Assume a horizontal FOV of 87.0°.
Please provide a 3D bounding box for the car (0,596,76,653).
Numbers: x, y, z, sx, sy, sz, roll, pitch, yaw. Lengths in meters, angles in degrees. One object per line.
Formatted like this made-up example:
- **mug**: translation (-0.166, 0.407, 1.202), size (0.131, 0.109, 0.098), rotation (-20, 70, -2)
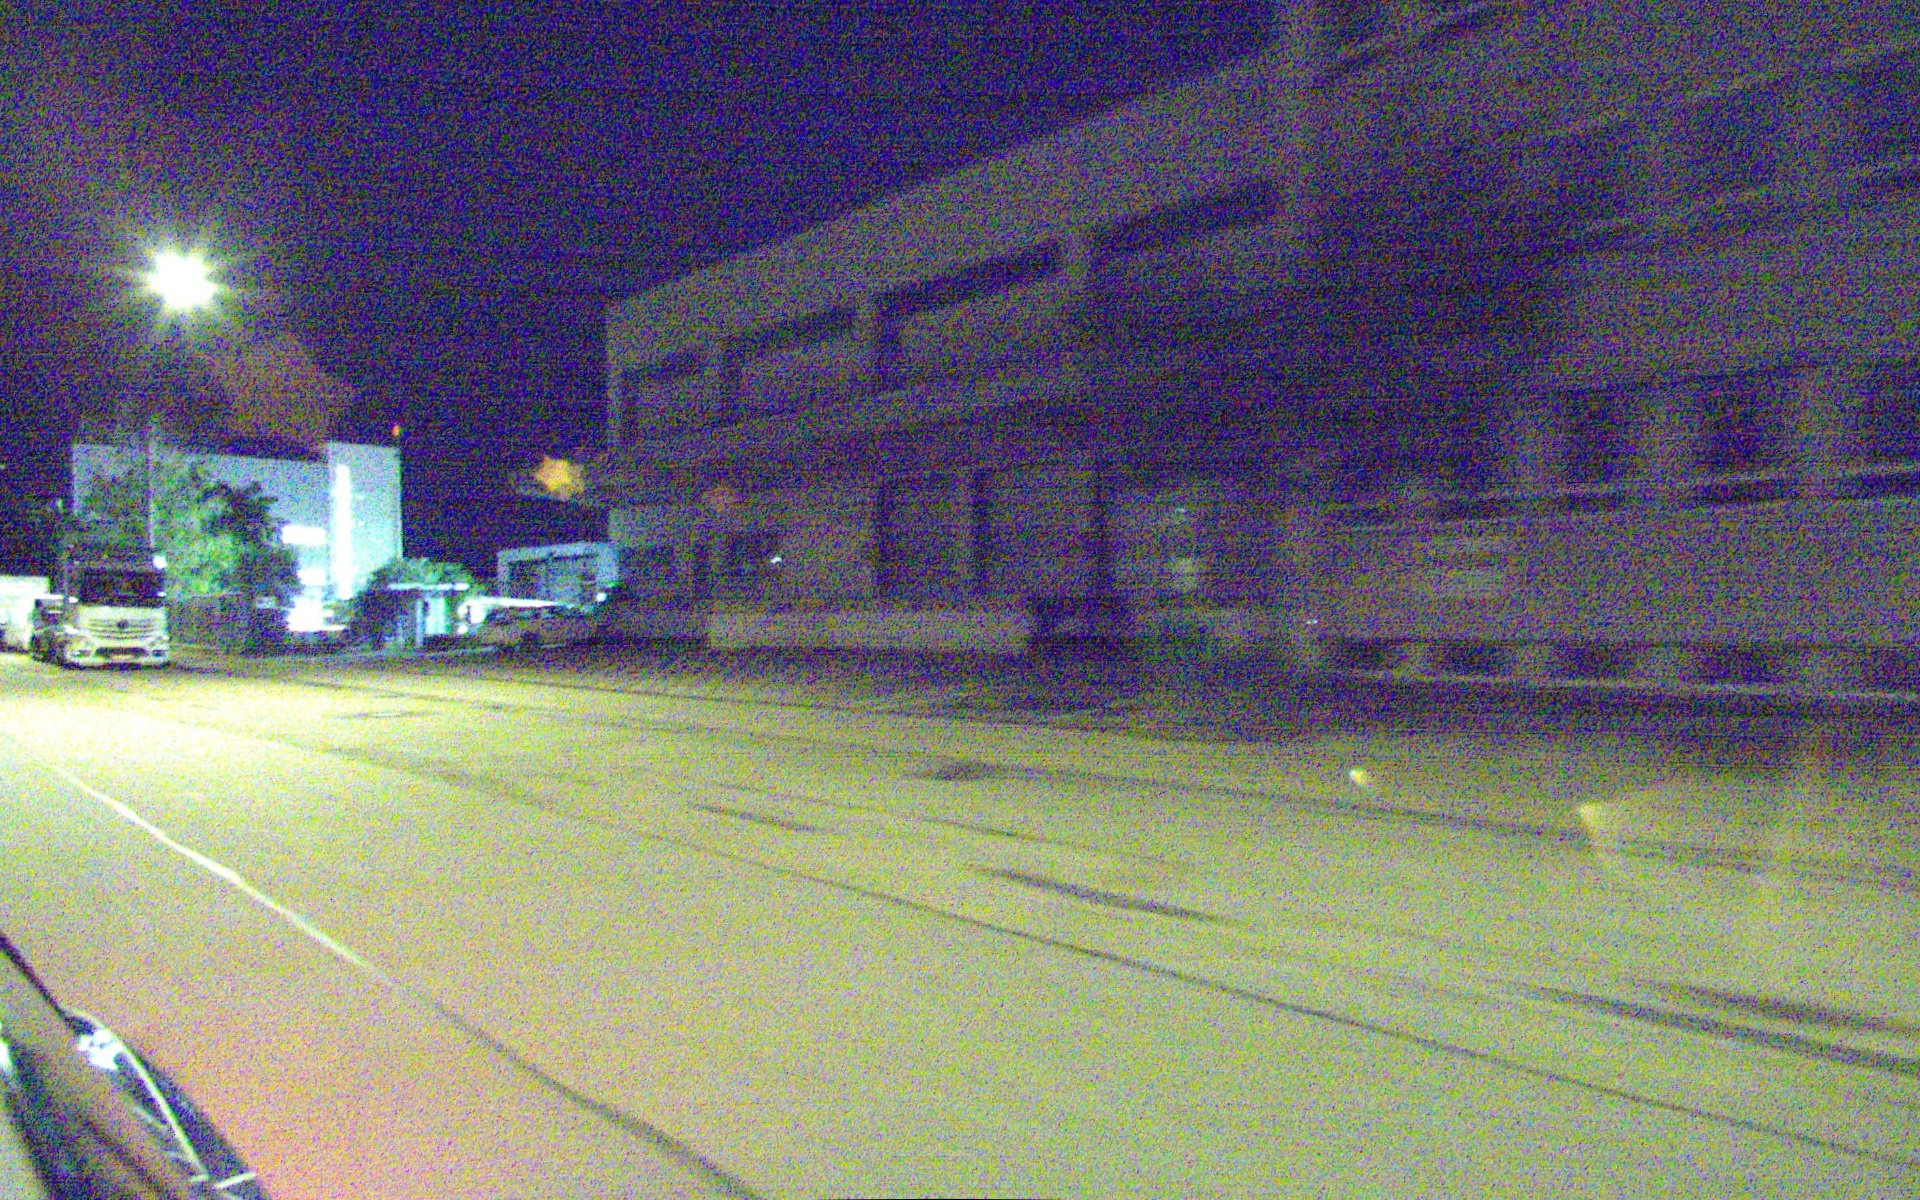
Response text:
- **car**: translation (-42.633, 1.112, 46.641), size (5.740, 2.461, 1.974), rotation (-1, 0, 40)

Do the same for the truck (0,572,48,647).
- **truck**: translation (-51.186, 0.556, 53.366), size (10.386, 3.659, 2.795), rotation (-1, 0, 38)

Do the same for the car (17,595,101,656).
- **car**: translation (-36.642, 1.016, 41.126), size (4.468, 2.330, 2.117), rotation (-1, 0, 43)

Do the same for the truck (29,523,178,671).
- **truck**: translation (-29.979, -0.052, 35.106), size (12.827, 4.347, 2.608), rotation (0, -2, 44)

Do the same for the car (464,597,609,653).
- **car**: translation (-13.883, 0.790, 33.334), size (1.804, 1.474, 3.950), rotation (-1, 3, 38)
